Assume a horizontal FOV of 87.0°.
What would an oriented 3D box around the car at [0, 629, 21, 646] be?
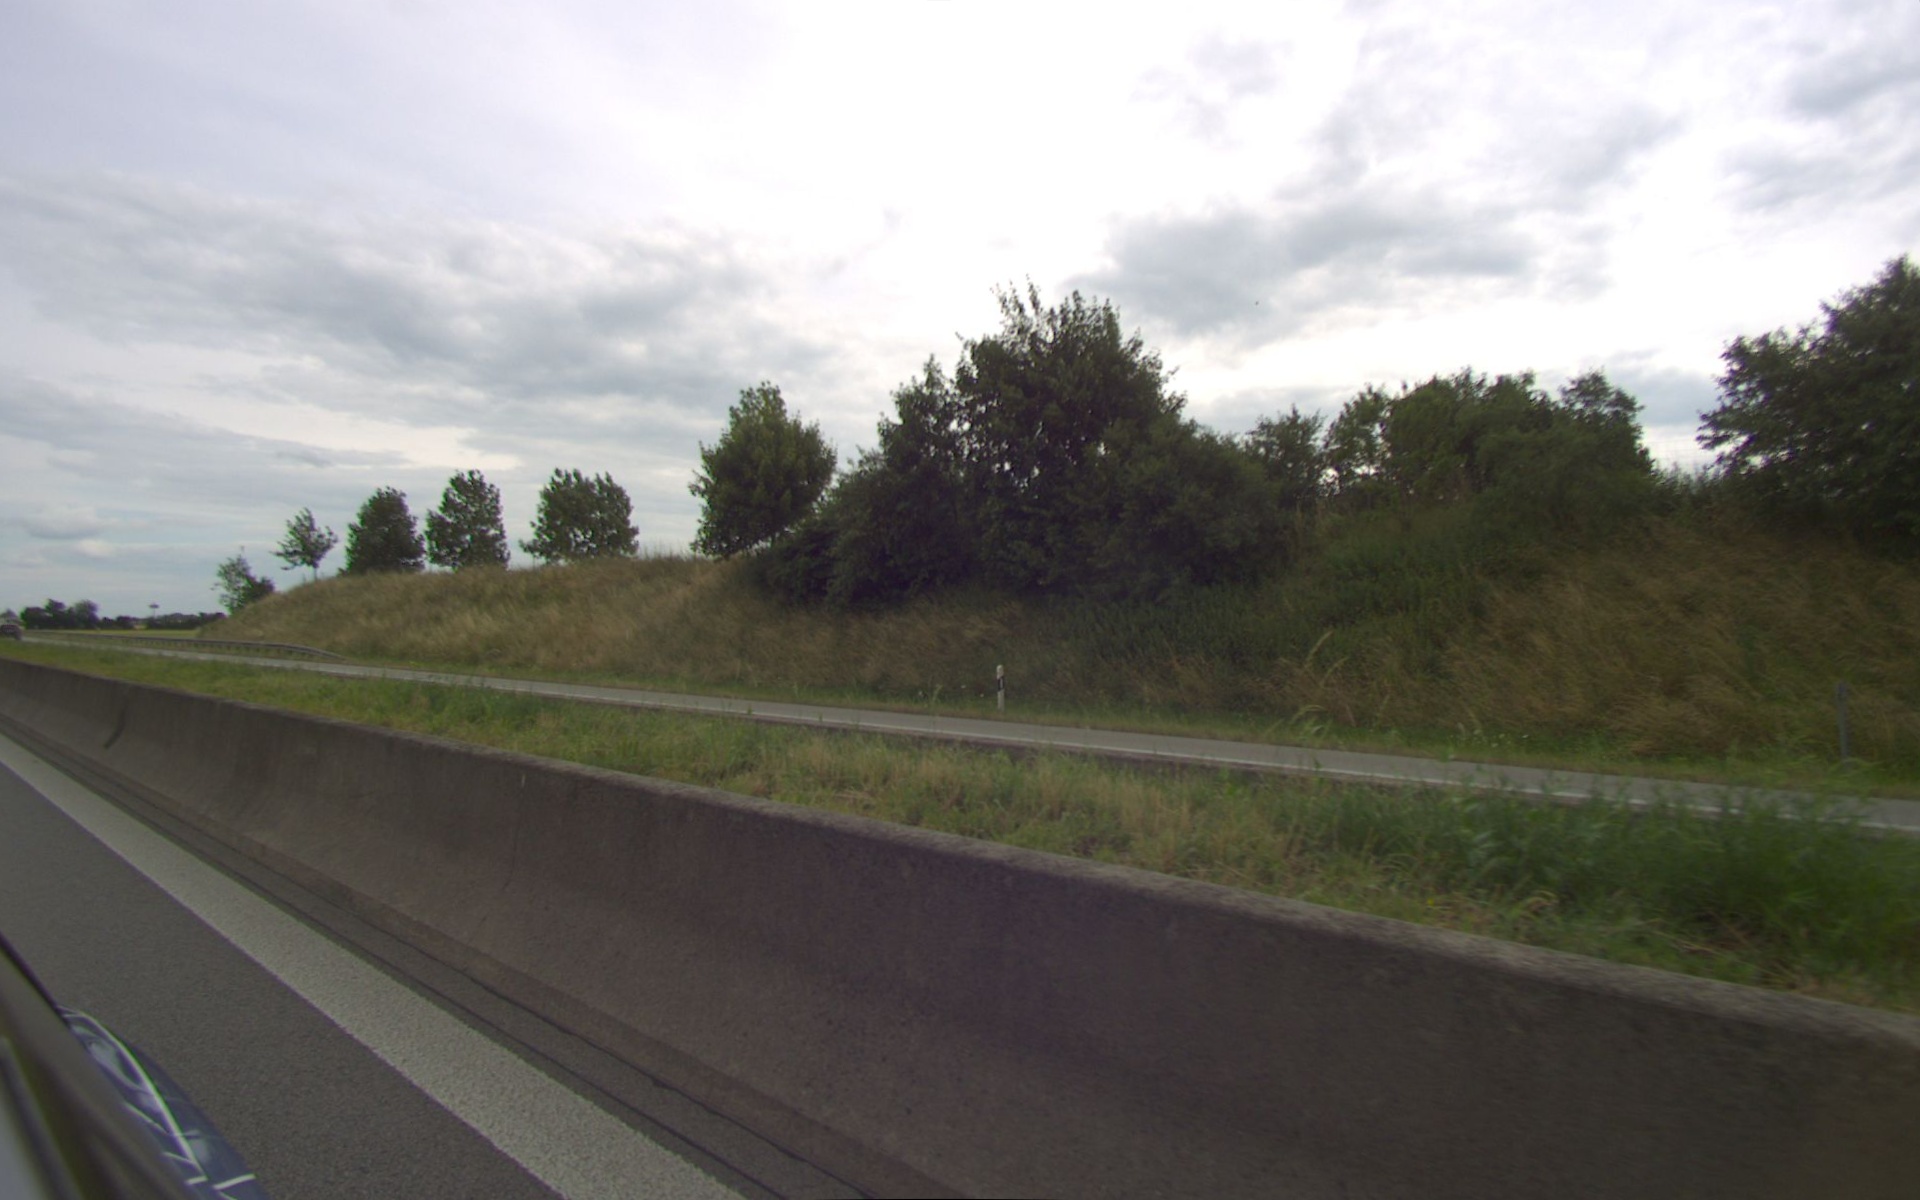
[{"bbox_3d":[-86.839,3.414,91.928,4.578,1.509,1.826,-2,-4,42],"label":"car"}]
